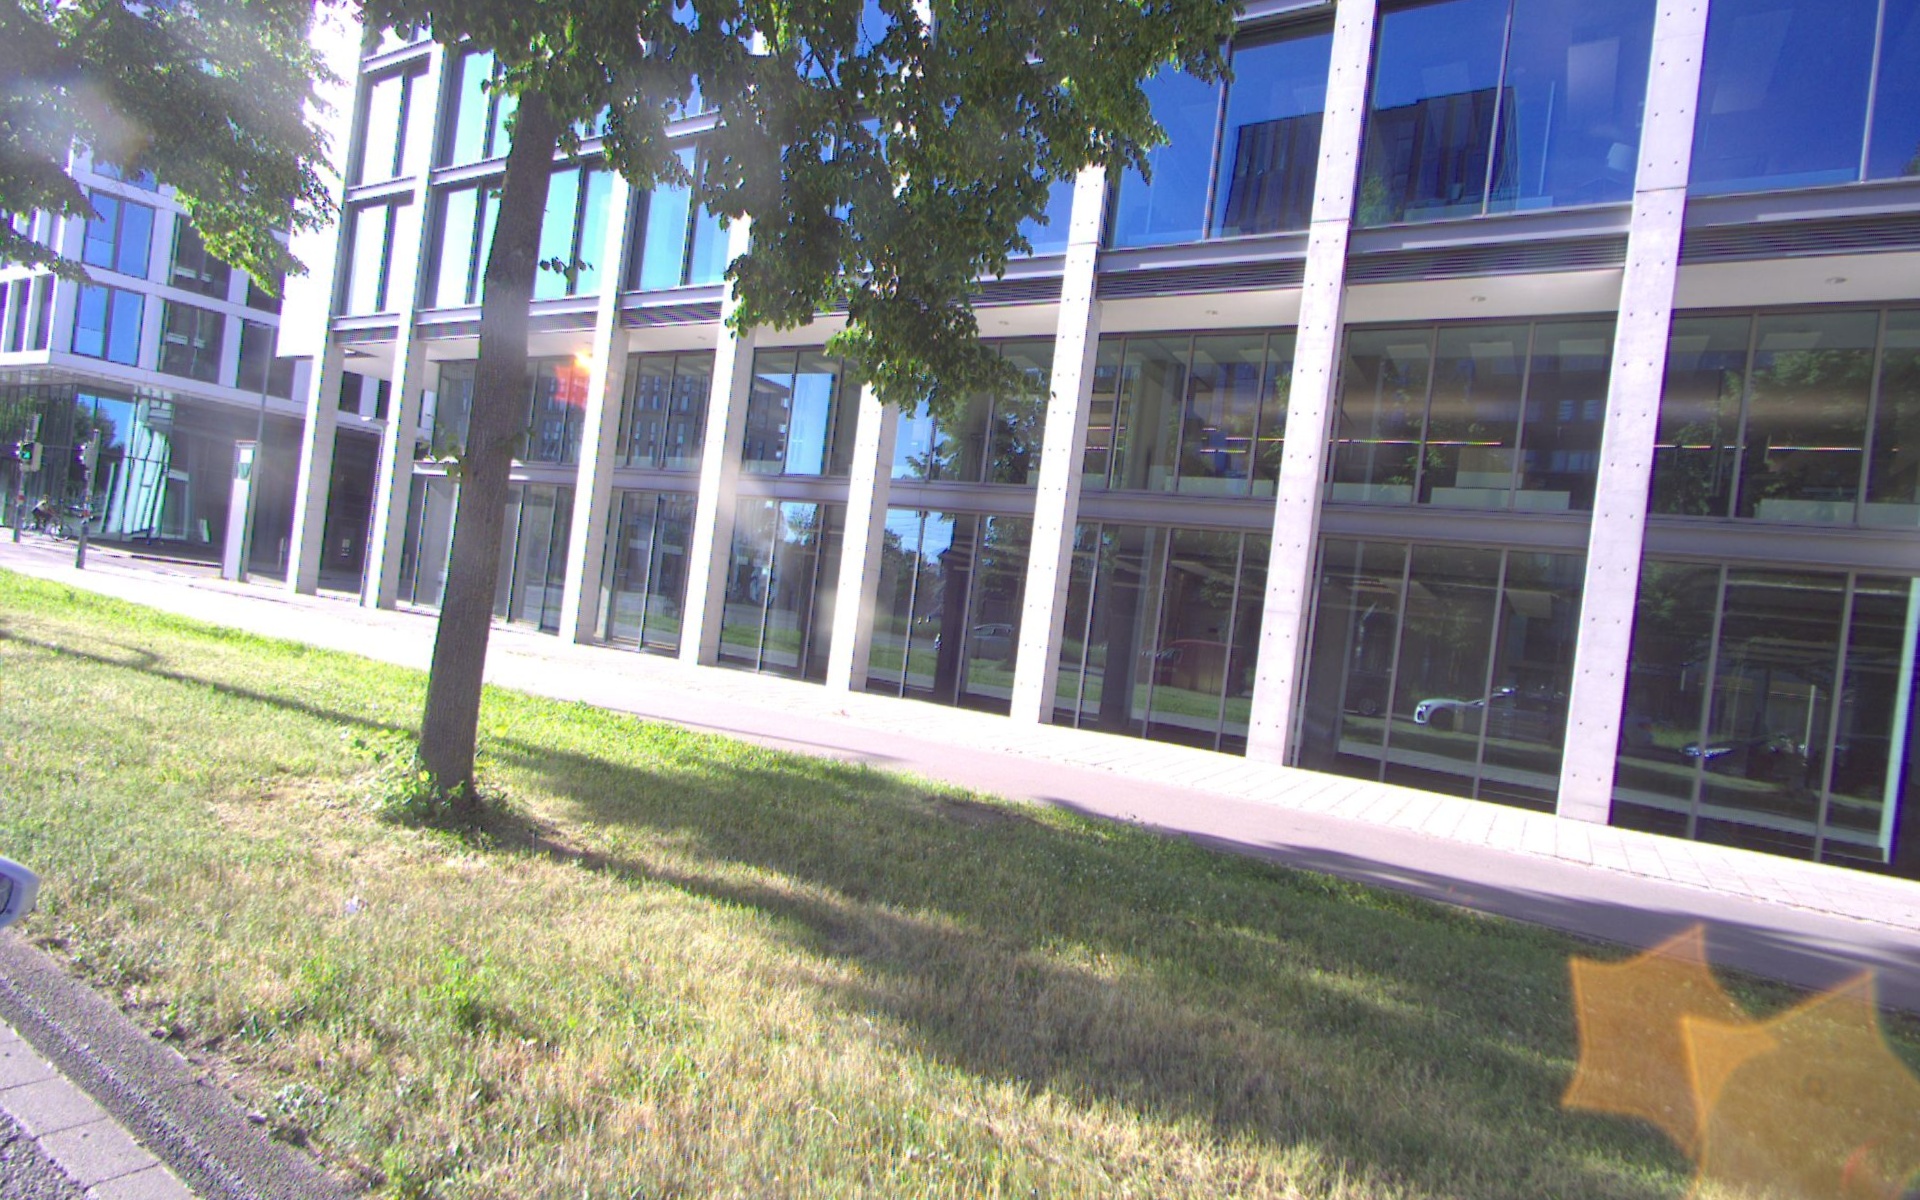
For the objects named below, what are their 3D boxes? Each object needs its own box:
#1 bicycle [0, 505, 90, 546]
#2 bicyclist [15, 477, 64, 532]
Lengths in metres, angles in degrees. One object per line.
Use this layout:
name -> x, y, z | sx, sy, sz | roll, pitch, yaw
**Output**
bicycle -> -36.490, -2.958, 39.825 | 2.908, 1.204, 0.815 | 8, 0, -18
bicyclist -> -36.414, -3.752, 39.817 | 0.987, 1.970, 0.815 | 7, 0, -17
